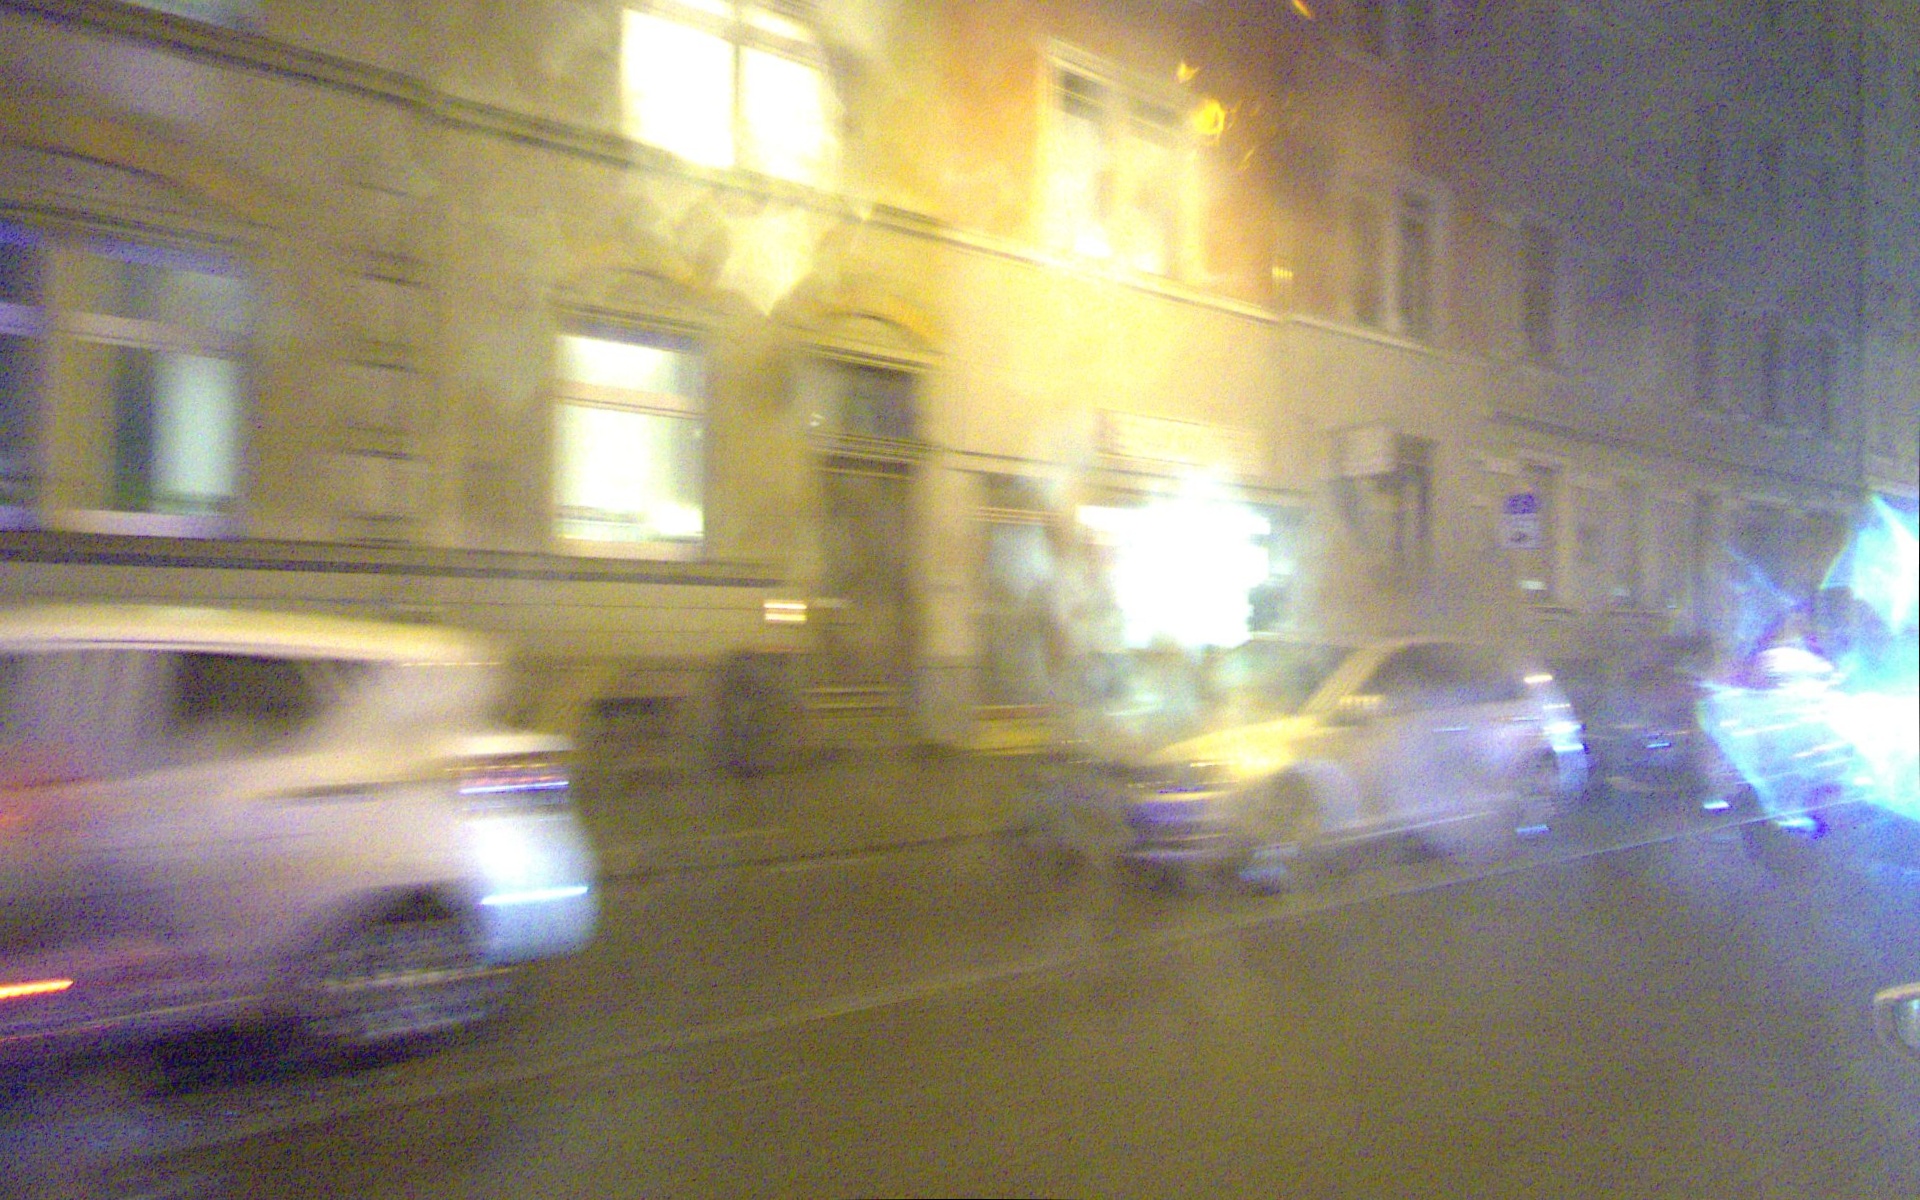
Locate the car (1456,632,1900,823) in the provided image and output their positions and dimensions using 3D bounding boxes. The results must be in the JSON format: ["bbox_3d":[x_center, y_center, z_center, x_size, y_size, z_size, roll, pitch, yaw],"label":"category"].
[{"bbox_3d":[6.837,1.036,9.458,4.374,1.408,1.813,2,-1,-31],"label":"car"}]

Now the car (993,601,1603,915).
[{"bbox_3d":[2.420,0.864,6.929,4.086,1.593,1.766,2,-1,-31],"label":"car"}]

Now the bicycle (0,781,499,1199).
[{"bbox_3d":[-2.117,0.987,1.748,2.321,1.087,0.724,2,-2,-31],"label":"bicycle"}]

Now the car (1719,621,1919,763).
[{"bbox_3d":[11.595,1.055,12.616,4.256,1.500,1.824,2,-1,-30],"label":"car"}]

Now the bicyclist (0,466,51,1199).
[{"bbox_3d":[-2.236,0.516,1.680,0.885,1.576,0.715,1,-2,-30],"label":"bicyclist"}]

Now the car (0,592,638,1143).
[{"bbox_3d":[-3.174,0.737,3.424,3.678,1.511,1.664,2,0,-31],"label":"car"}]

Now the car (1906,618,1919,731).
[{"bbox_3d":[15.732,1.108,14.743,3.721,1.609,1.737,2,-1,-30],"label":"car"}]
